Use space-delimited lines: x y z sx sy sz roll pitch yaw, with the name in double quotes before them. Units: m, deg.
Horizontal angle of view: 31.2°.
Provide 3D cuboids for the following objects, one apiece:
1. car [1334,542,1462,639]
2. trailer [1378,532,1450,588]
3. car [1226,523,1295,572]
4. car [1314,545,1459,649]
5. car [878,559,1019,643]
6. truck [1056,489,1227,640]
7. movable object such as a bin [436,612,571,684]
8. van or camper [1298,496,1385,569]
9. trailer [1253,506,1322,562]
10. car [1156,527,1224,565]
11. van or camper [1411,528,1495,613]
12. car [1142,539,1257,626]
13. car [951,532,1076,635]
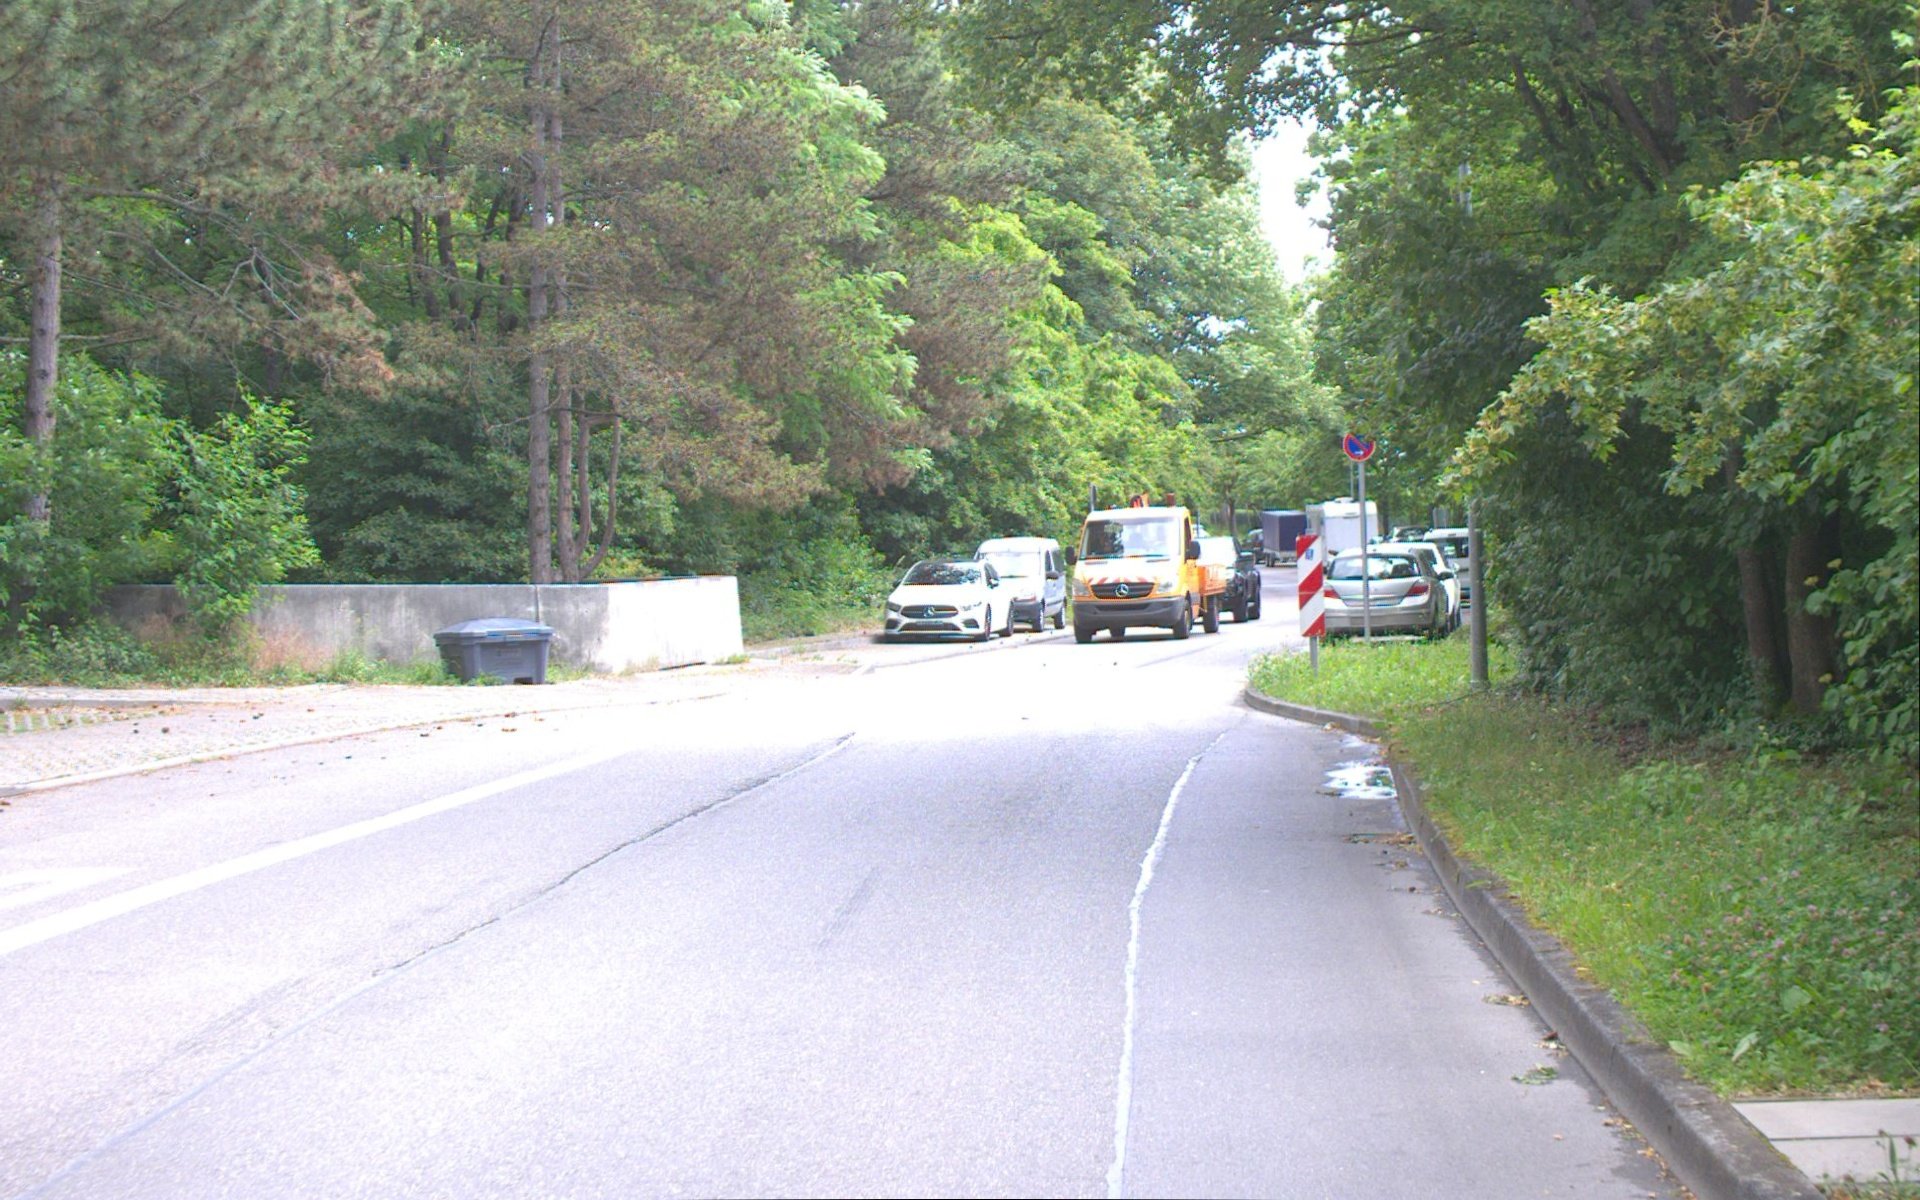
"car" 7.441 -0.192 58.085 1.887 1.501 5.174 -2 1 10
"trailer" 15.999 -1.444 121.404 1.979 1.805 5.149 -2 2 2
"car" 13.730 -2.431 157.502 1.993 2.019 4.002 -5 3 -11
"car" 6.335 -0.066 50.723 1.793 1.406 4.057 -2 0 11
"car" -0.165 -0.011 60.472 1.806 1.398 4.370 0 1 9
"truck" 3.276 -0.659 60.724 2.323 2.461 6.018 -2 1 9
"movable object such as a bin" -4.918 0.515 37.031 1.143 0.758 1.049 1 0 -27
"van or camper" 15.641 -2.755 141.285 2.482 2.866 6.890 -2 1 -2
"trailer" 14.474 -2.891 152.039 1.993 2.390 4.001 -2 1 -10
"car" 11.410 -2.670 170.742 2.034 1.797 4.084 -3 2 -15
"van or camper" 11.379 -0.653 79.202 1.802 1.831 4.319 -1 -1 9
"car" 5.123 -0.390 72.960 1.994 1.730 5.335 -1 0 9
"car" 1.077 -0.355 67.333 1.722 1.915 4.103 1 2 12
